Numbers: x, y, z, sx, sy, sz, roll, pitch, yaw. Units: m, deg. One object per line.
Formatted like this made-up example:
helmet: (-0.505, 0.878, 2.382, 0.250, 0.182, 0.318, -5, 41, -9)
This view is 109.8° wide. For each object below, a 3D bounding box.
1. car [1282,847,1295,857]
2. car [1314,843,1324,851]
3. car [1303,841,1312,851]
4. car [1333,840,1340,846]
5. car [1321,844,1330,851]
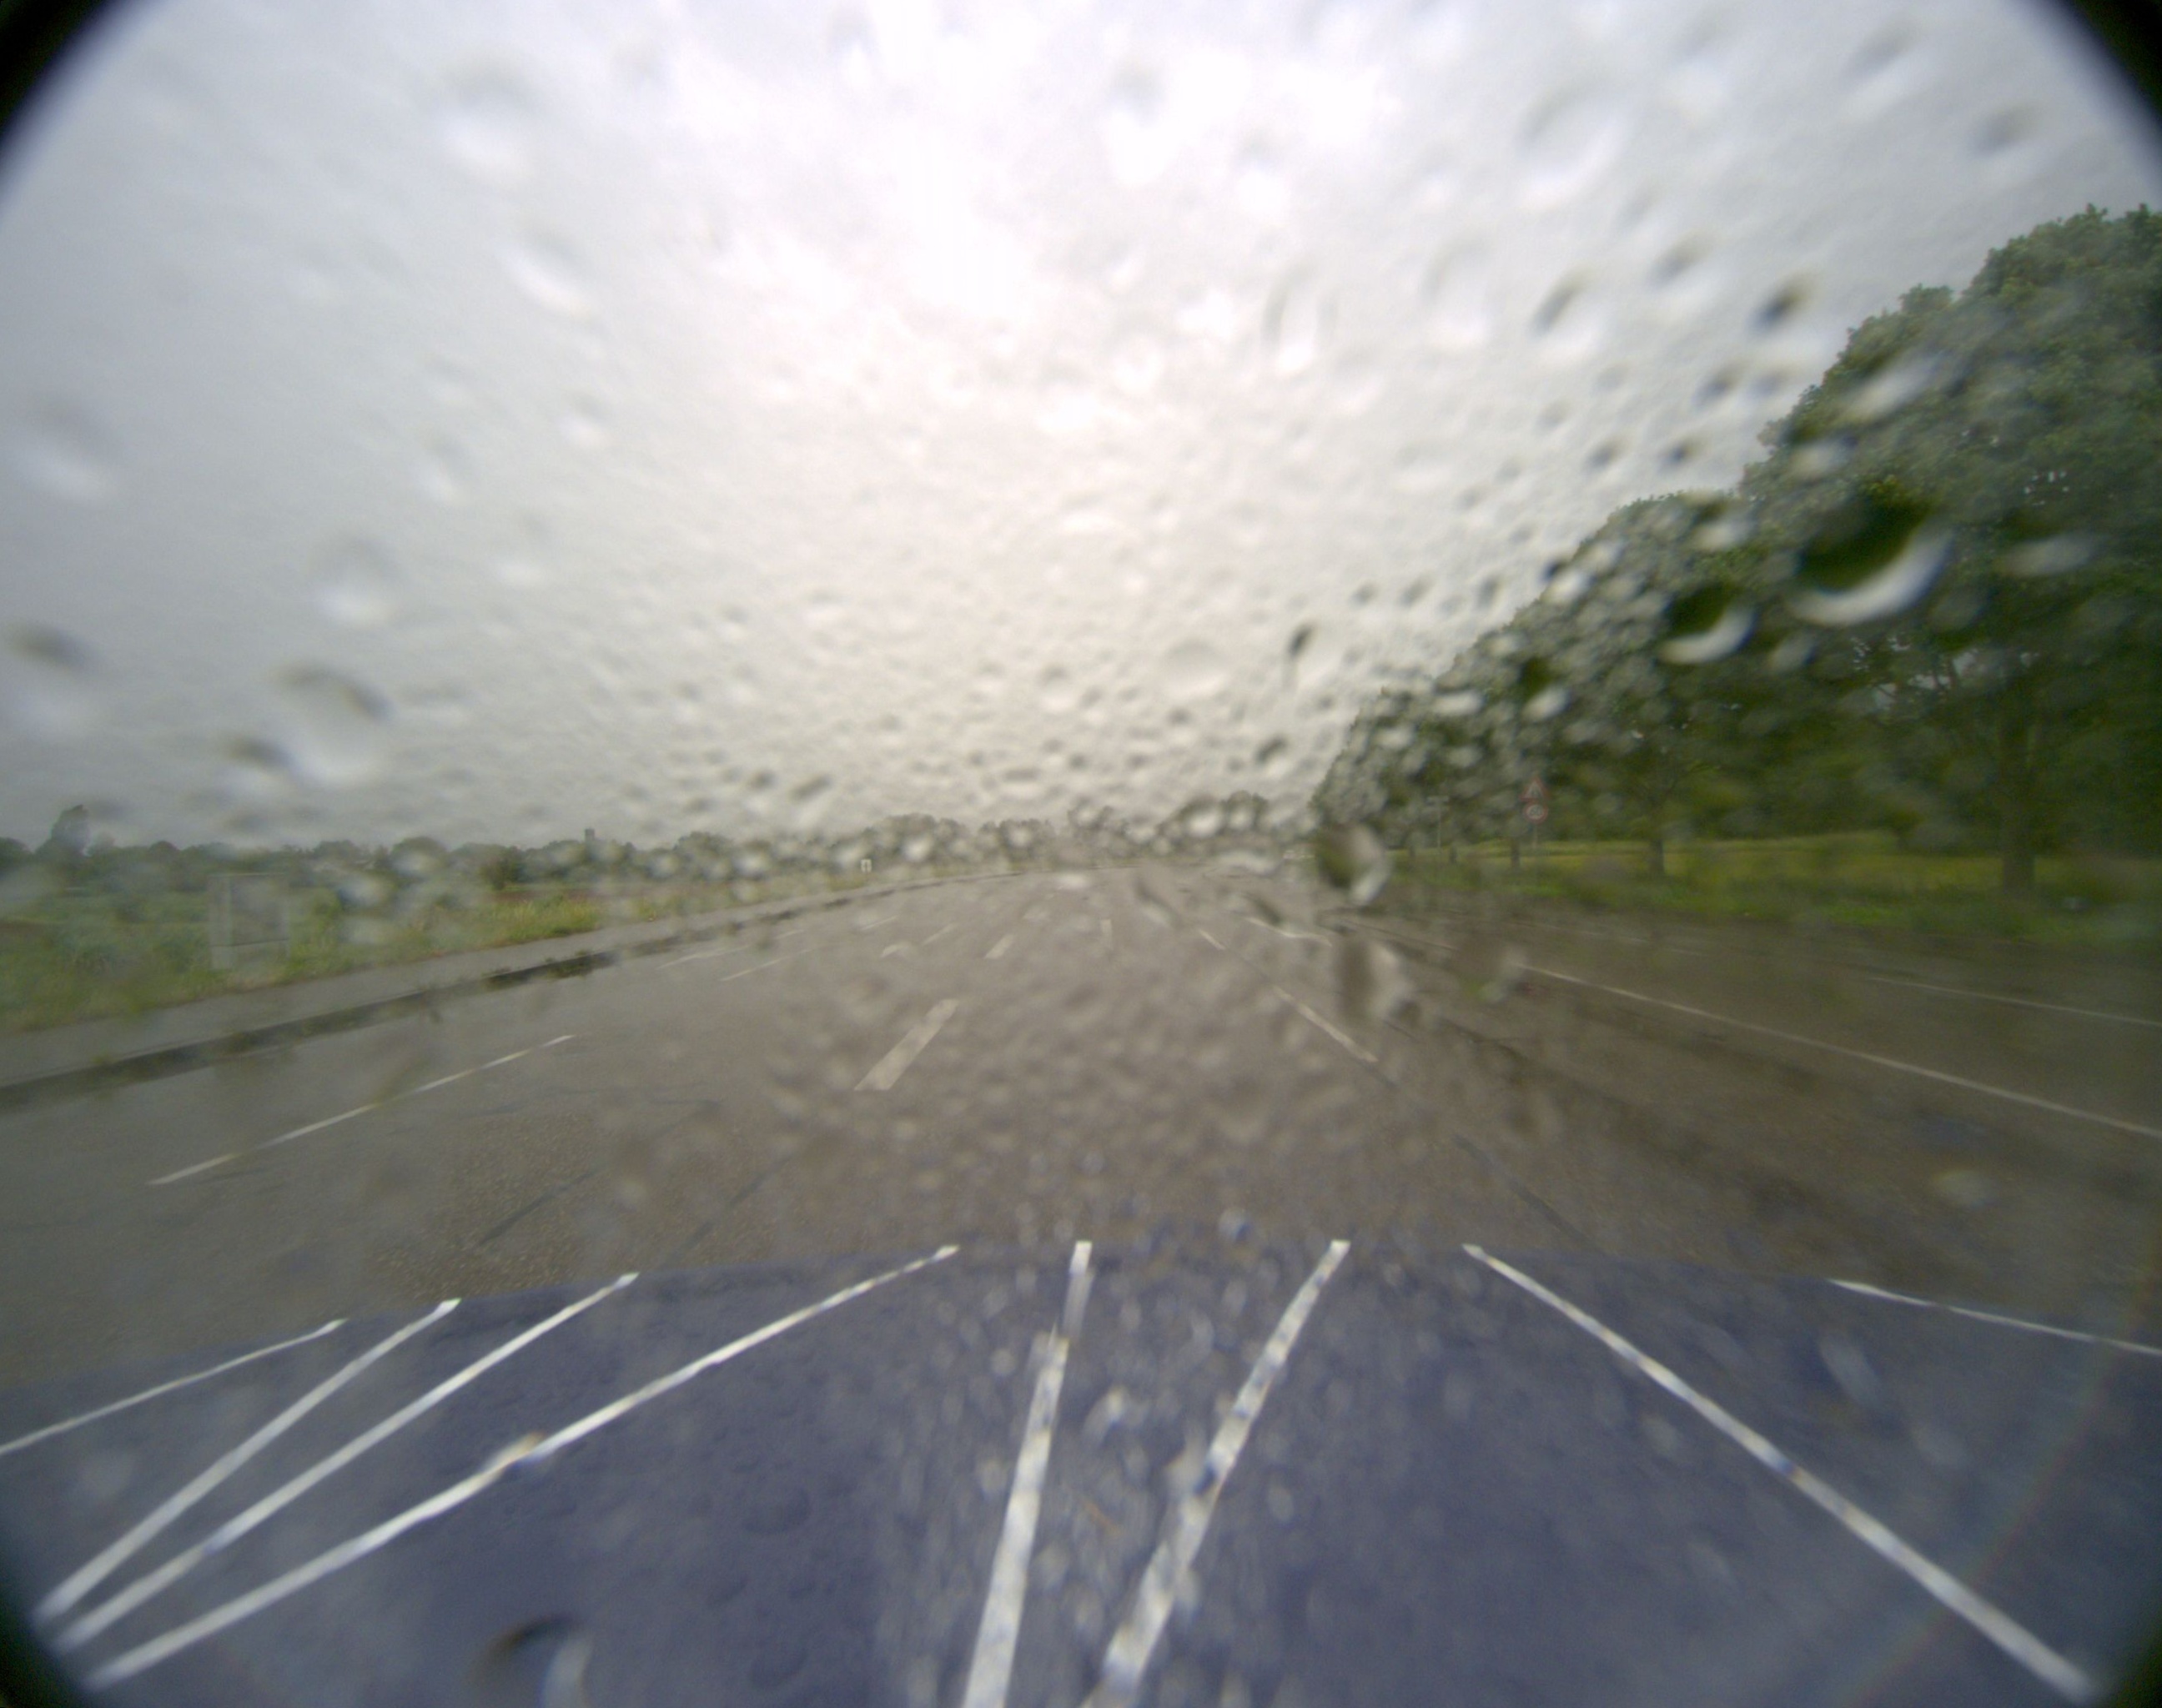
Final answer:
car: (33.693, -0.328, 123.256, 1.881, 1.564, 4.649, 1, 1, 13)
car: (51.382, -1.489, 163.951, 1.887, 1.578, 4.123, -3, 1, 16)
car: (49.774, -1.785, 166.984, 1.741, 1.979, 4.016, 1, 1, 19)
car: (76.321, -3.189, 227.141, 1.926, 1.733, 4.294, 1, 1, 18)
car: (57.389, -1.572, 178.309, 1.741, 1.479, 4.015, 1, 1, 17)
